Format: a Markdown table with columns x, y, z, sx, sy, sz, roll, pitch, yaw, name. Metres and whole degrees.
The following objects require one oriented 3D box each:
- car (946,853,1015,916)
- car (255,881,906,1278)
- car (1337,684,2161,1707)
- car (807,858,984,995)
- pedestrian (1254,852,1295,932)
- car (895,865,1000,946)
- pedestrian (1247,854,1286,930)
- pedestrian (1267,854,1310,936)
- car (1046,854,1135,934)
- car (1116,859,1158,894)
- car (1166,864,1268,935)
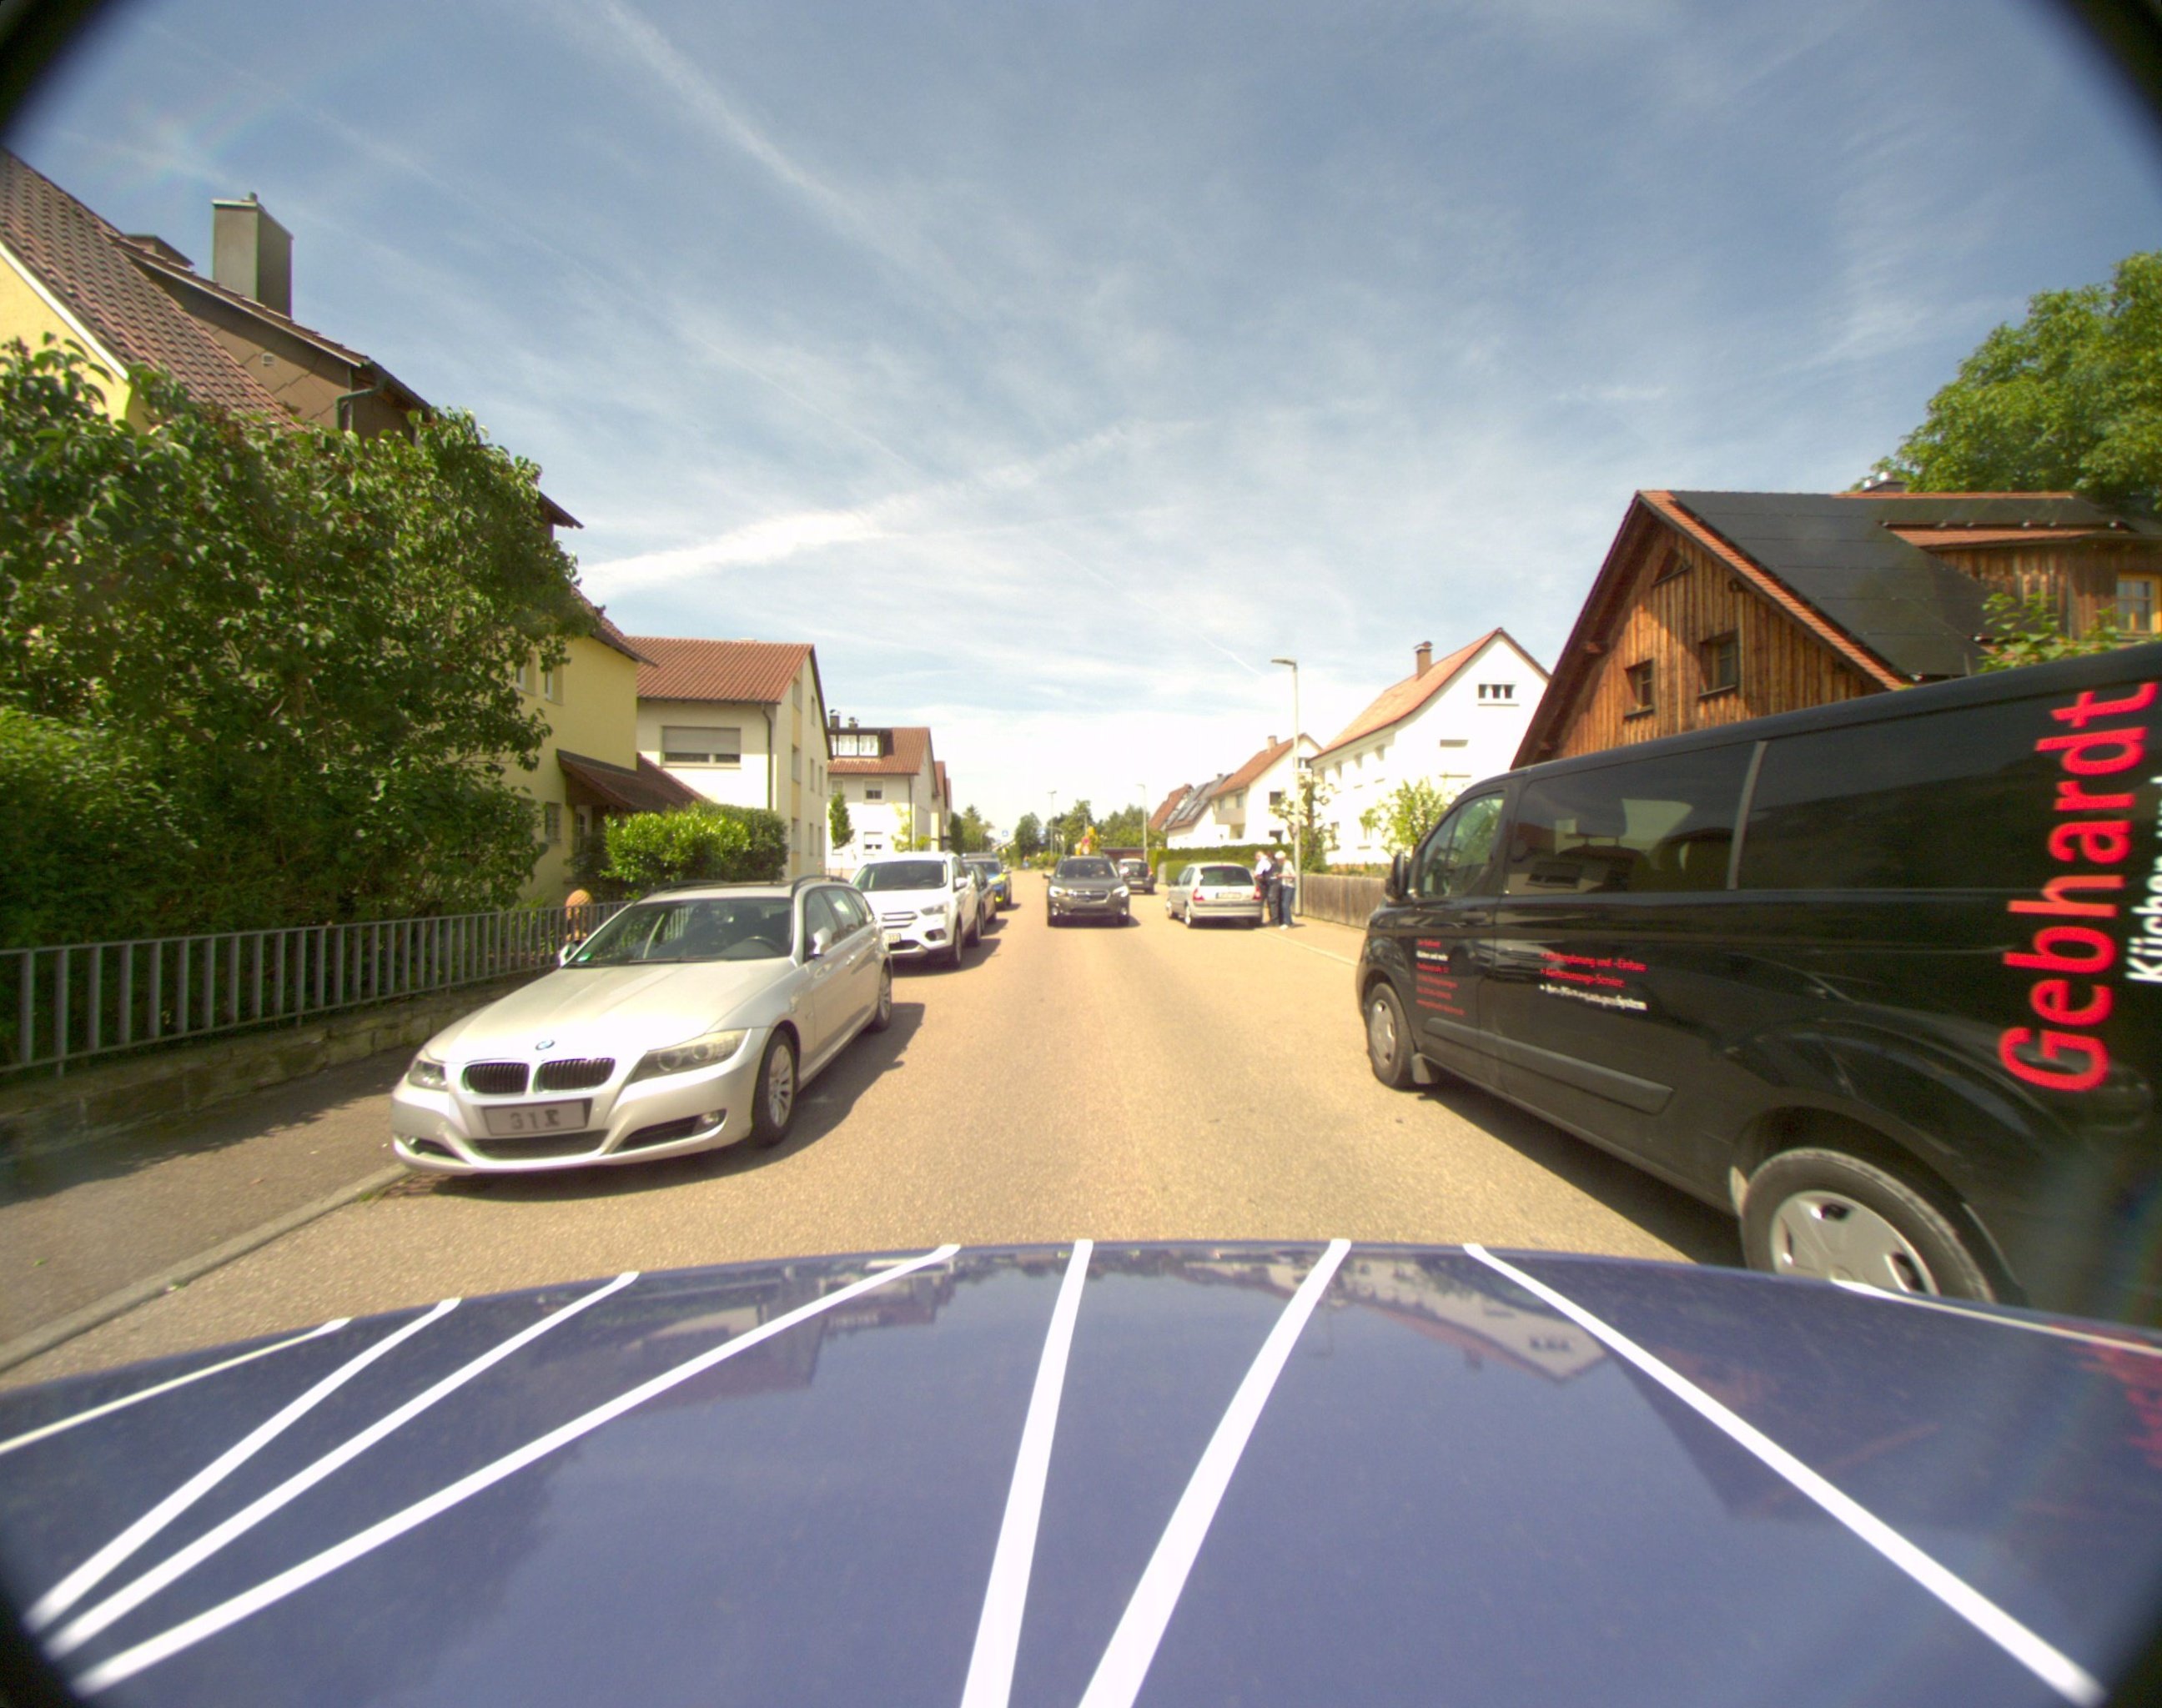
| x | y | z | sx | sy | sz | roll | pitch | yaw | name |
| --- | --- | --- | --- | --- | --- | --- | --- | --- | --- |
| -3.049 | 0.870 | 23.770 | 1.670 | 1.739 | 4.055 | -2 | 0 | -2 | car |
| -2.577 | 1.010 | 5.380 | 1.756 | 1.412 | 4.420 | -2 | 0 | -2 | car |
| 2.914 | 0.647 | 3.190 | 1.973 | 1.940 | 4.695 | -1 | 0 | -1 | car |
| -2.610 | 0.924 | 11.766 | 1.741 | 1.652 | 4.336 | -2 | 0 | -2 | car |
| 4.150 | 0.800 | 16.350 | 0.640 | 1.672 | 0.590 | -3 | 1 | -1 | pedestrian |
| -2.807 | 1.023 | 16.890 | 1.628 | 1.460 | 4.371 | -2 | 0 | -2 | car |
| 4.140 | 0.831 | 16.956 | 0.640 | 1.633 | 0.590 | -3 | 1 | -1 | pedestrian |
| 4.270 | 0.831 | 15.666 | 0.640 | 1.633 | 0.599 | -3 | 1 | -1 | pedestrian |
| 0.094 | 0.840 | 18.116 | 1.838 | 1.637 | 4.322 | -1 | 0 | -3 | car |
| 2.451 | 0.958 | 33.795 | 1.602 | 1.450 | 3.660 | 0 | 0 | 0 | car |
| 3.015 | 0.970 | 17.440 | 1.586 | 1.434 | 3.264 | 0 | 0 | -3 | car |
